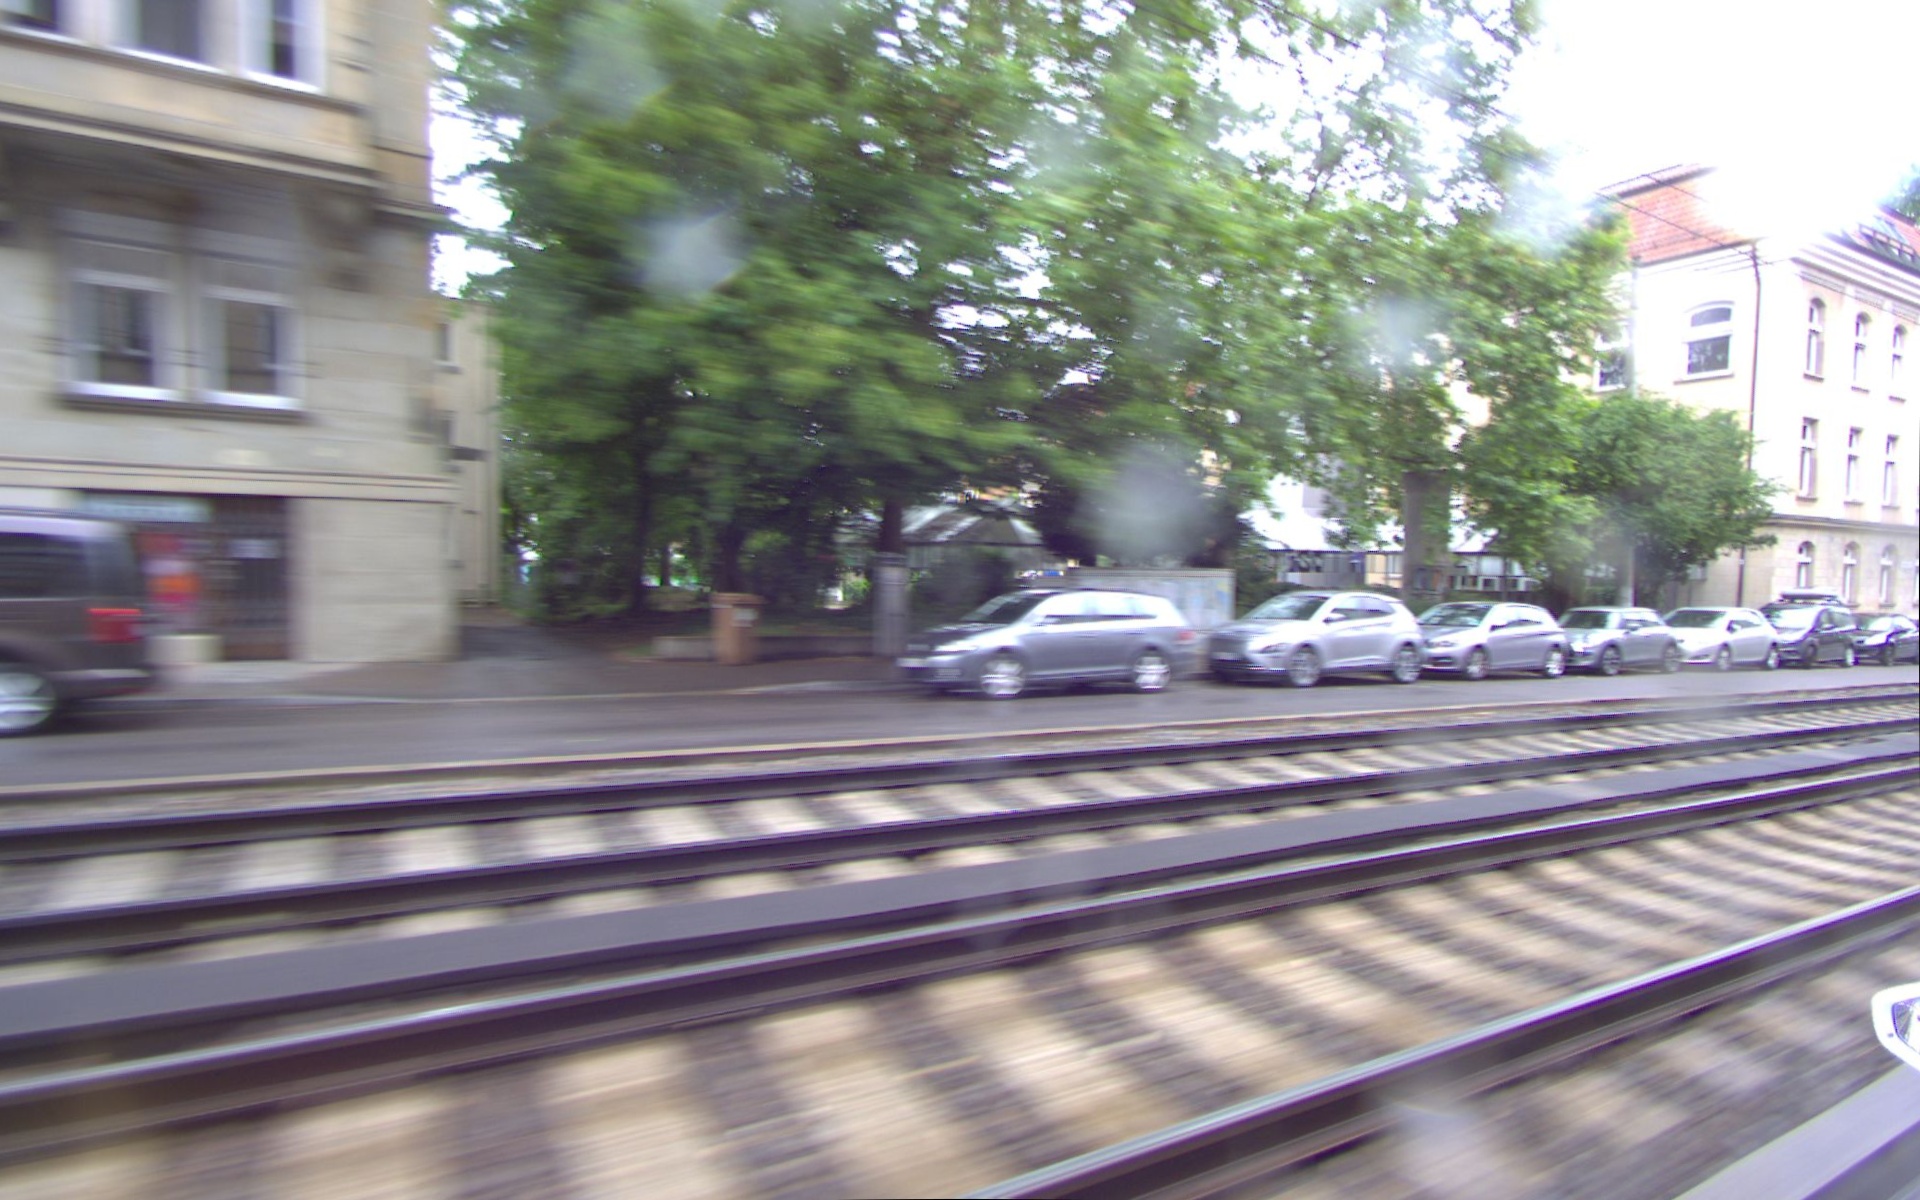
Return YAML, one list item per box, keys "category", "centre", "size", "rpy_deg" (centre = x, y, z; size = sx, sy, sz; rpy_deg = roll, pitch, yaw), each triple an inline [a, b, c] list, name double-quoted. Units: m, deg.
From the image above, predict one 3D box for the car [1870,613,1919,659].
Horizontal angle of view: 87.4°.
- category: "car"
  centre: [30.671, 1.134, 31.896]
  size: [3.939, 1.409, 1.493]
  rpy_deg: [1, -1, -29]

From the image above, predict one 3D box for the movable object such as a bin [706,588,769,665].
- category: "movable object such as a bin"
  centre: [-3.426, 0.395, 15.463]
  size: [0.763, 1.135, 0.714]
  rpy_deg: [1, 1, -28]

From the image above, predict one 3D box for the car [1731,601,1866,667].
- category: "car"
  centre: [22.436, 0.900, 26.854]
  size: [4.025, 1.665, 1.568]
  rpy_deg: [1, -1, -31]

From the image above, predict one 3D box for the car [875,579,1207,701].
- category: "car"
  centre: [1.215, 0.539, 14.212]
  size: [4.500, 1.483, 1.839]
  rpy_deg: [1, -1, -32]

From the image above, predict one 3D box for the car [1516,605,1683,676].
- category: "car"
  centre: [14.048, 0.876, 22.015]
  size: [3.908, 1.432, 1.531]
  rpy_deg: [1, -1, -31]

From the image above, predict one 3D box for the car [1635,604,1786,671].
- category: "car"
  centre: [18.282, 0.899, 24.431]
  size: [4.107, 1.525, 1.531]
  rpy_deg: [1, -1, -31]

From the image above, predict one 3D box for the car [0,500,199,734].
- category: "car"
  centre: [-9.275, 0.108, 8.101]
  size: [4.762, 1.871, 1.792]
  rpy_deg: [1, 0, -31]

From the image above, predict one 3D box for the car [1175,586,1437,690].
- category: "car"
  centre: [5.917, 0.627, 17.022]
  size: [4.491, 1.556, 1.745]
  rpy_deg: [1, -1, -31]

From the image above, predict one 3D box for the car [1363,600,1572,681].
- category: "car"
  centre: [9.900, 0.771, 19.516]
  size: [4.106, 1.432, 1.745]
  rpy_deg: [1, -1, -31]

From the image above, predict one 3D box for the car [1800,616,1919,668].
- category: "car"
  centre: [26.614, 1.209, 29.543]
  size: [3.961, 1.432, 1.667]
  rpy_deg: [1, -1, -29]
